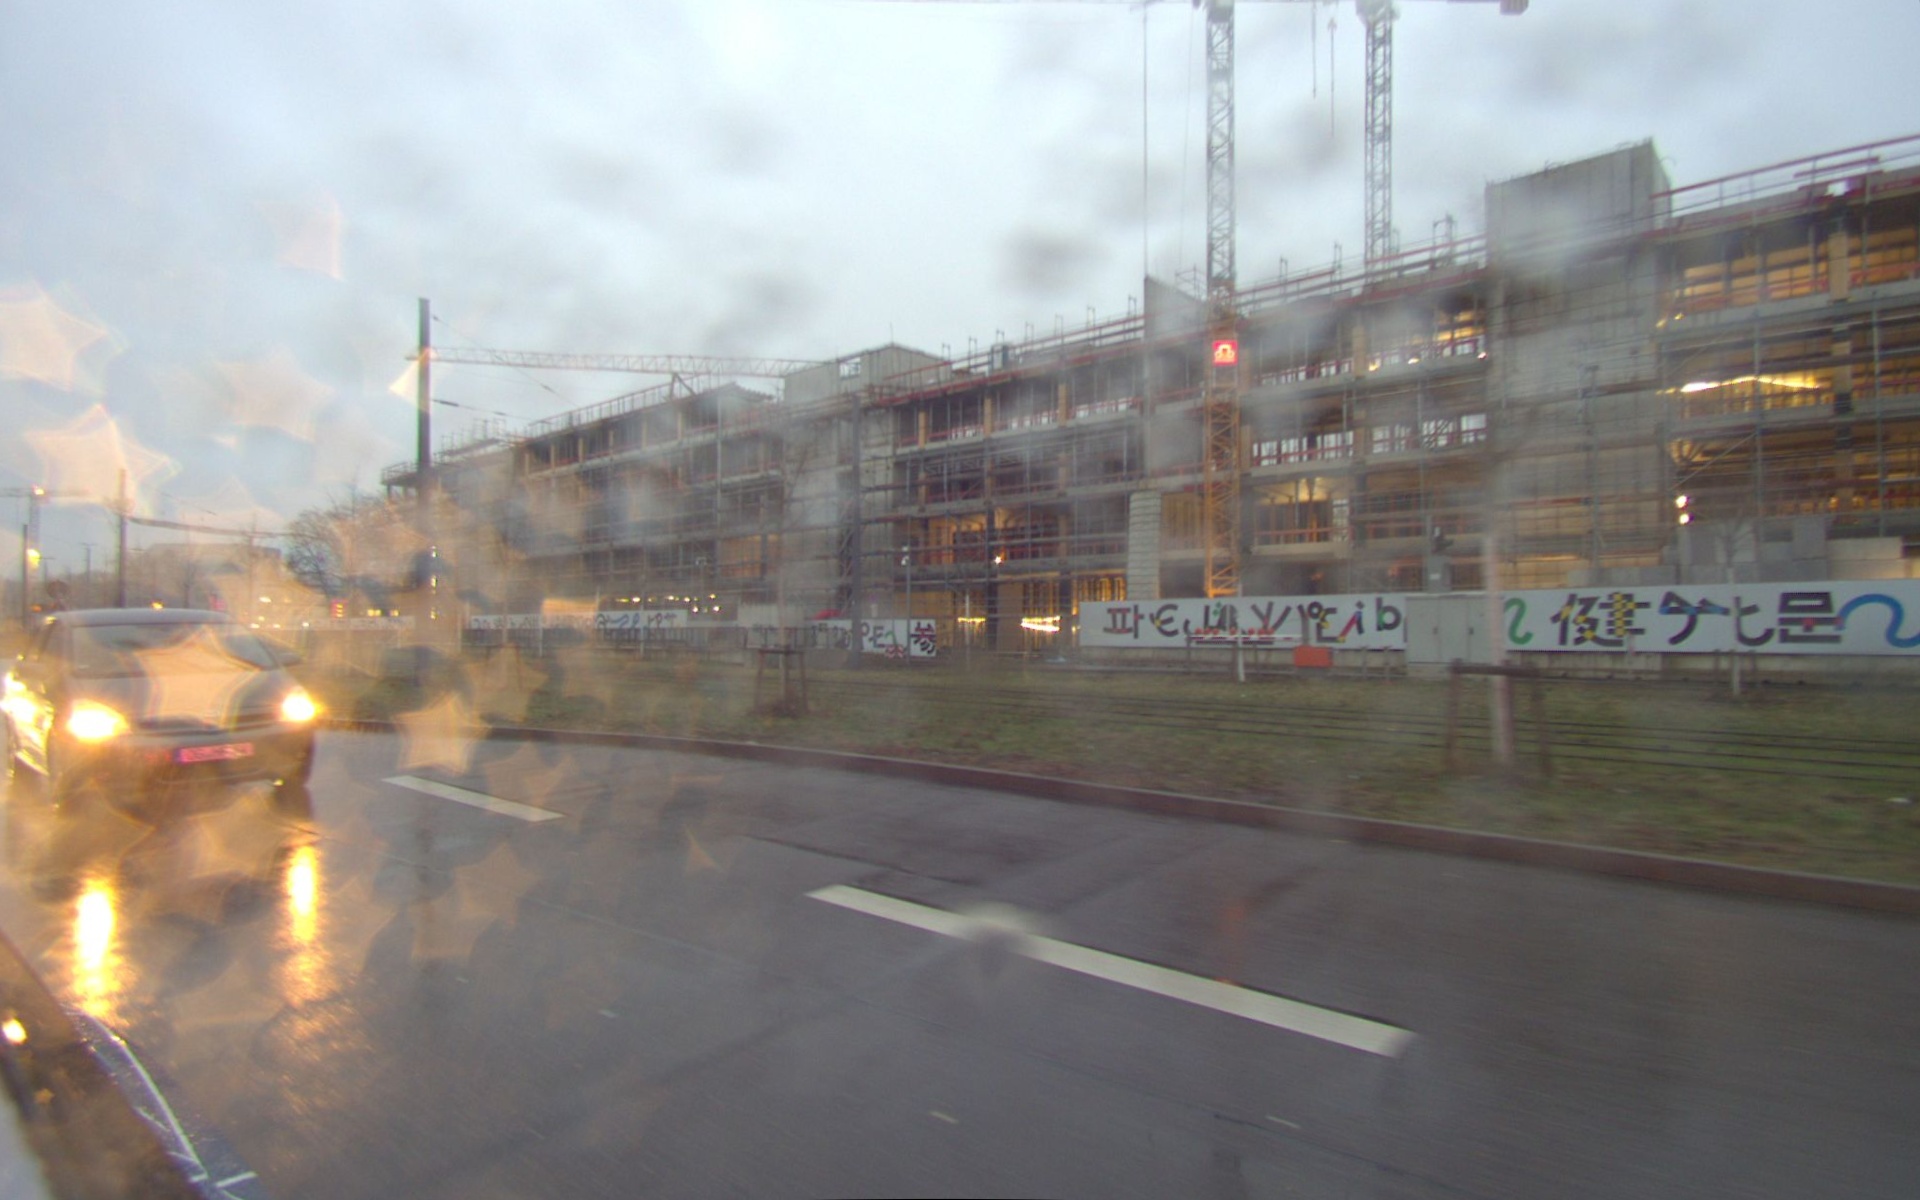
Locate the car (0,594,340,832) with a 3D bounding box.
[{"bbox_3d":[-7.305,0.848,9.102,4.132,1.659,1.792,-2,-2,41],"label":"car"}]
